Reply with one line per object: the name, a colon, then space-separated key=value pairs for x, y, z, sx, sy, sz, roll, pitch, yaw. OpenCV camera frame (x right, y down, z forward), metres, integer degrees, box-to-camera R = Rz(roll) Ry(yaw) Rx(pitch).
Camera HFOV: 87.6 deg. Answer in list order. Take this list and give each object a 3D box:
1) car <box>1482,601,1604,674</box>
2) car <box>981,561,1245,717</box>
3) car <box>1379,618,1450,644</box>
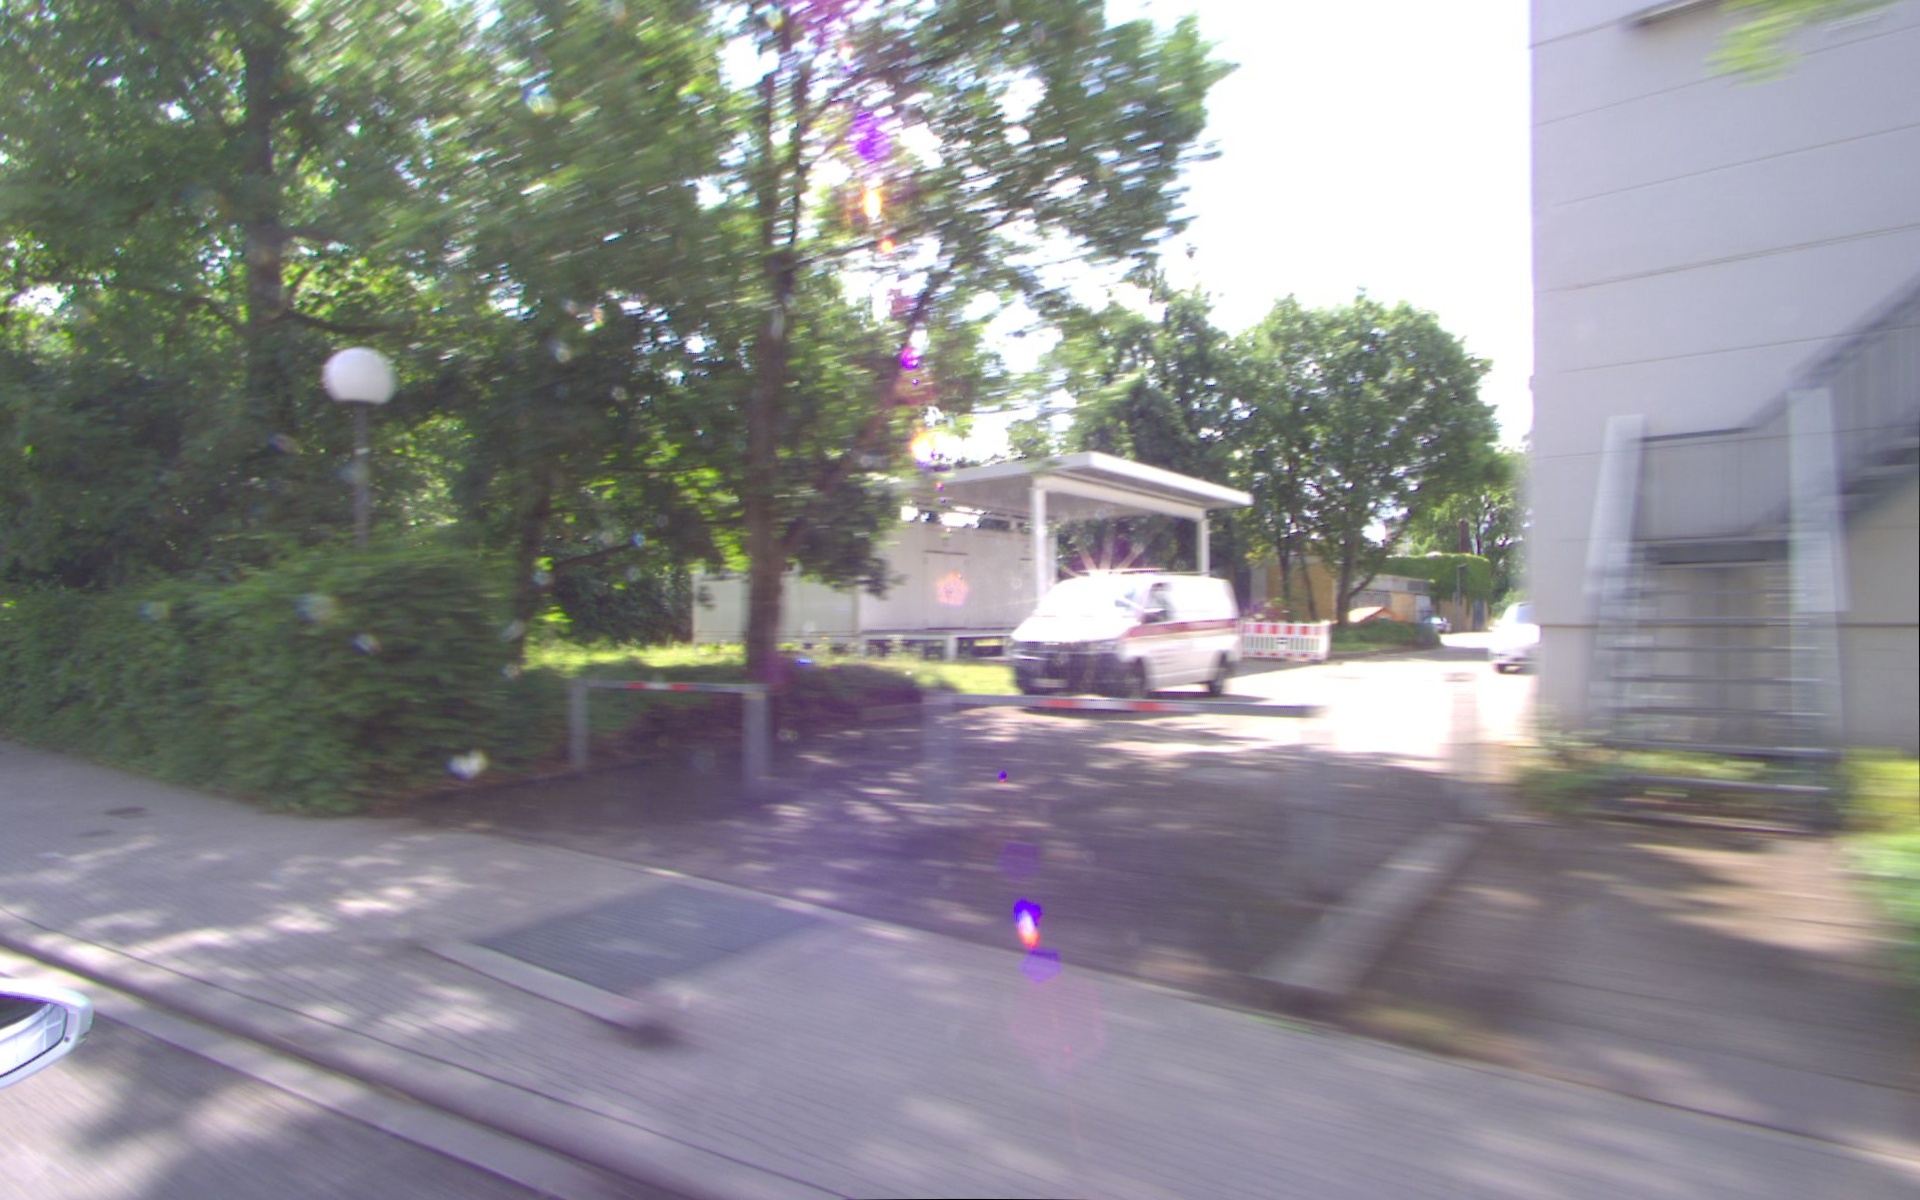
car: x=13.783 y=0.856 z=23.568 sx=1.976 sy=1.563 sz=4.066 roll=-3 pitch=-2 yaw=37
car: x=2.561 y=0.540 z=15.651 sx=2.036 sy=2.040 sz=4.807 roll=-1 pitch=-1 yaw=37
car: x=31.114 y=2.120 z=68.608 sx=4.046 sy=1.649 sz=1.794 roll=-3 pitch=-2 yaw=39
